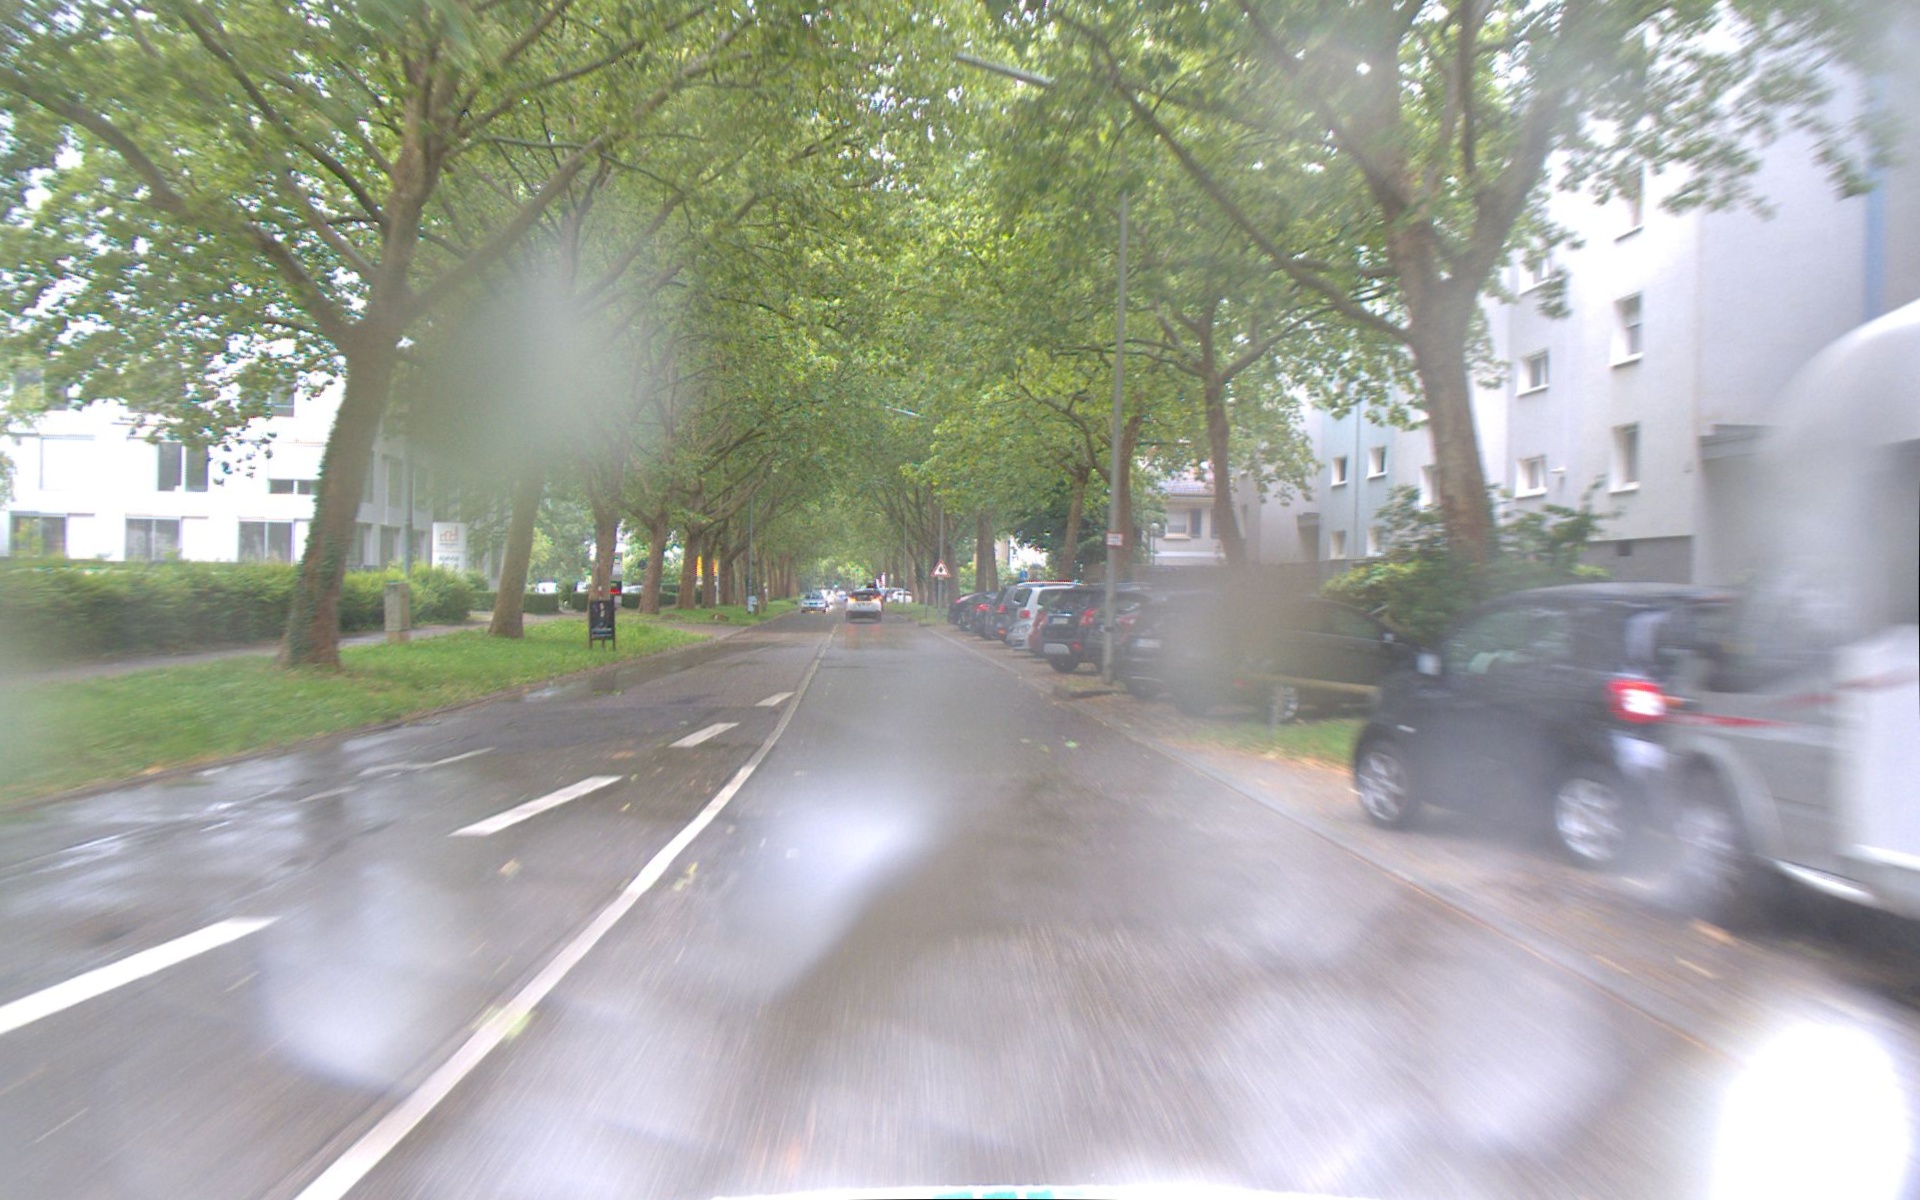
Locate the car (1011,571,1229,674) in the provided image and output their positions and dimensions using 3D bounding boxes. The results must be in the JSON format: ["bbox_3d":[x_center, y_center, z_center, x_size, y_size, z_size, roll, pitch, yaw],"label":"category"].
[{"bbox_3d":[3.048,0.366,31.361,3.817,1.726,1.818,-2,2,-32],"label":"car"}]

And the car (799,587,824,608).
[{"bbox_3d":[-10.597,-0.212,118.213,1.645,1.413,4.547,0,1,-3],"label":"car"}]

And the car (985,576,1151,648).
[{"bbox_3d":[2.869,0.313,44.612,4.252,1.792,1.817,2,1,-4],"label":"car"}]

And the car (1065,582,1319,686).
[{"bbox_3d":[3.995,0.568,28.432,3.946,1.629,2.014,1,1,-31],"label":"car"}]

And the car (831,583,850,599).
[{"bbox_3d":[-10.858,-0.813,149.967,1.672,1.436,3.642,-1,1,-4],"label":"car"}]

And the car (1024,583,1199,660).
[{"bbox_3d":[3.258,0.441,36.086,3.628,1.563,1.738,-1,1,-1],"label":"car"}]

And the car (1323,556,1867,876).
[{"bbox_3d":[3.796,0.596,10.358,1.662,1.681,2.930,1,1,-20],"label":"car"}]

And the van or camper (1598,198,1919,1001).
[{"bbox_3d":[4.568,0.019,5.170,2.272,2.856,6.861,1,0,-2],"label":"van or camper"}]

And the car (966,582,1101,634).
[{"bbox_3d":[2.265,0.226,51.630,3.958,1.466,1.683,-2,1,-7],"label":"car"}]

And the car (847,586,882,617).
[{"bbox_3d":[-4.709,0.069,81.486,1.672,1.436,3.642,-1,1,-4],"label":"car"}]

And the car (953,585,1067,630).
[{"bbox_3d":[1.821,0.265,60.539,3.964,1.557,1.778,1,1,-6],"label":"car"}]

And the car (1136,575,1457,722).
[{"bbox_3d":[4.186,0.570,20.444,3.723,1.629,1.782,1,1,-34],"label":"car"}]

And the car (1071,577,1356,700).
[{"bbox_3d":[3.738,0.538,24.182,3.951,1.629,1.782,1,1,-34],"label":"car"}]

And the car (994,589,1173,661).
[{"bbox_3d":[2.850,0.564,38.730,3.909,1.539,1.799,2,1,-6],"label":"car"}]

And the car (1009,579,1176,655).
[{"bbox_3d":[3.254,0.406,41.152,3.907,1.757,1.800,2,1,-3],"label":"car"}]
